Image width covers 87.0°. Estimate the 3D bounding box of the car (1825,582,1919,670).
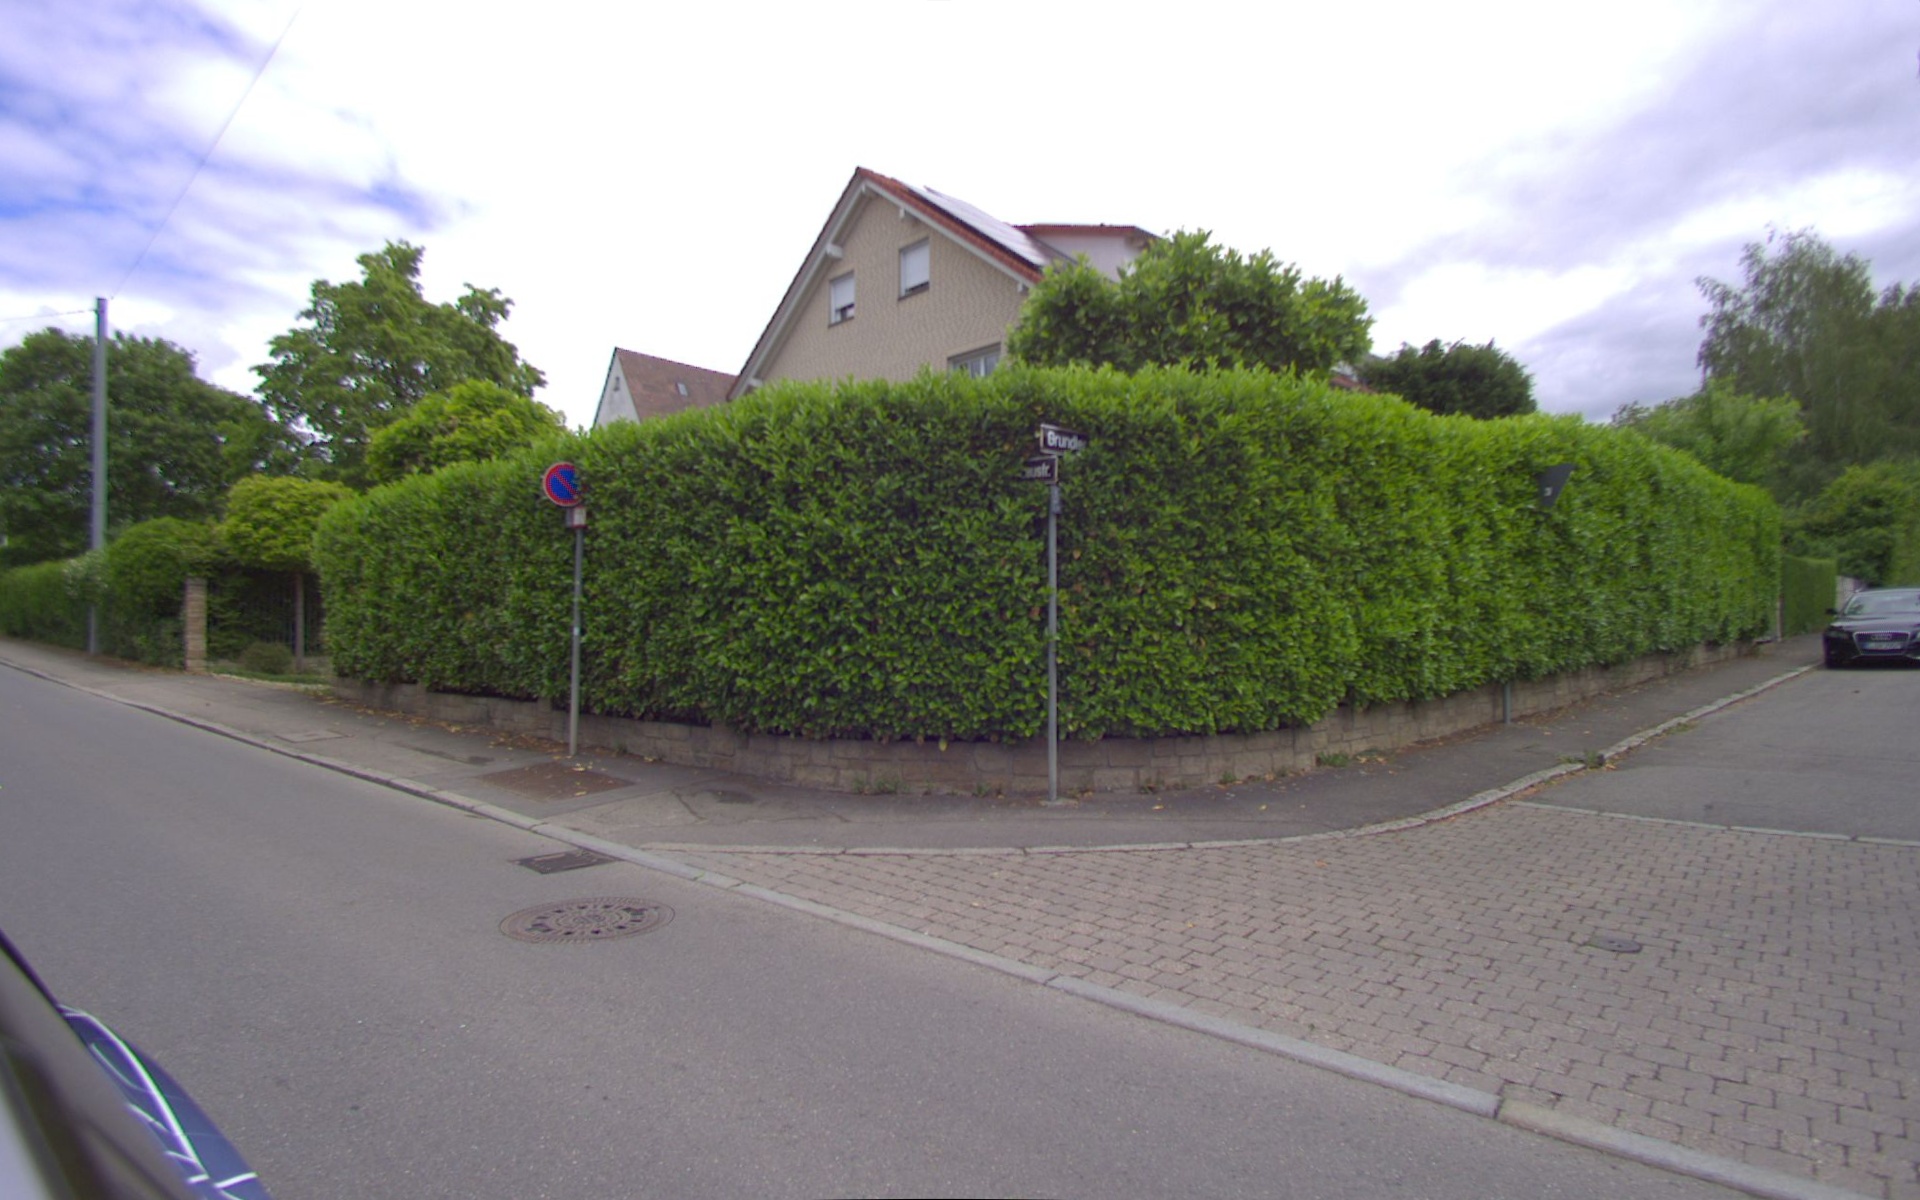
[{"bbox_3d":[17.275,0.406,18.368,3.939,1.426,1.850,-2,-1,-42],"label":"car"}]
